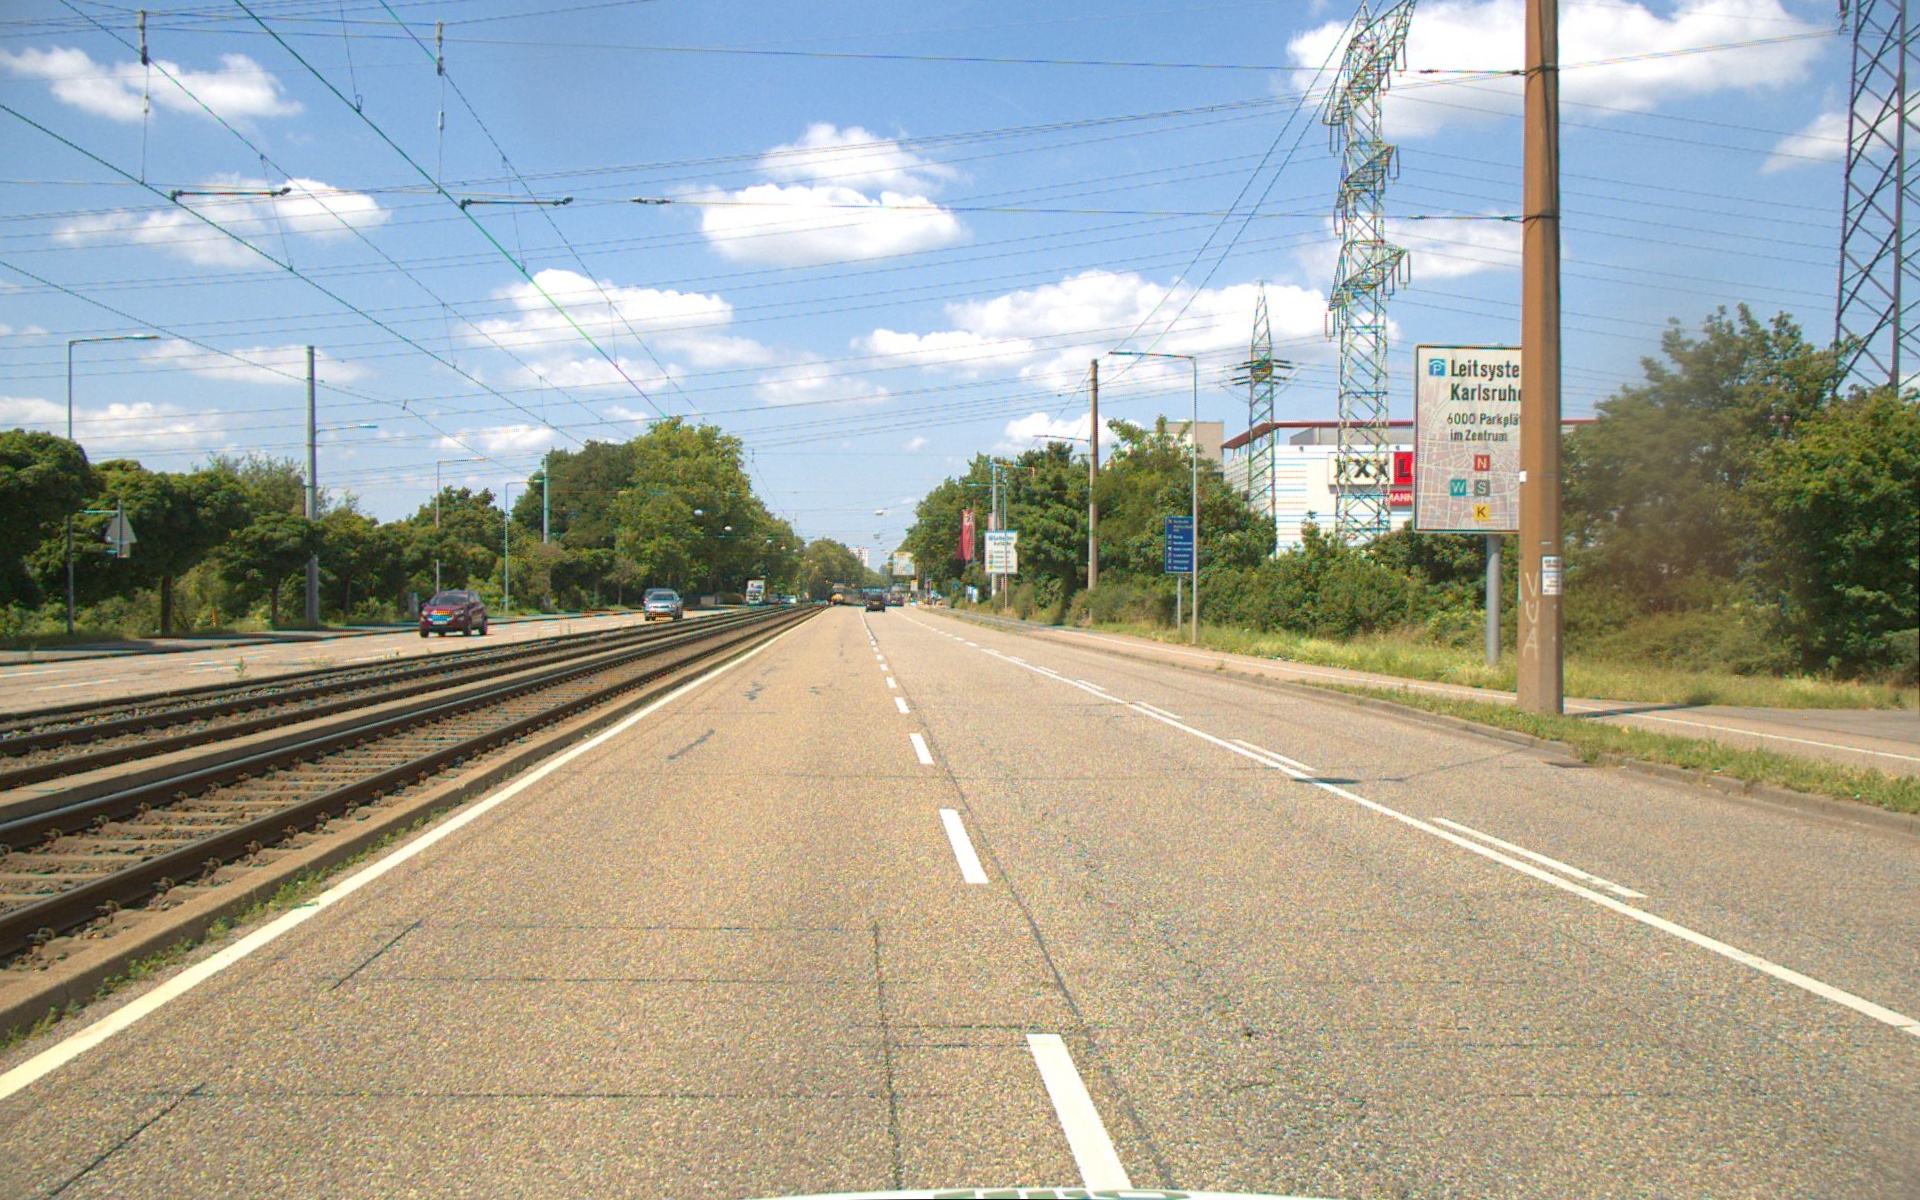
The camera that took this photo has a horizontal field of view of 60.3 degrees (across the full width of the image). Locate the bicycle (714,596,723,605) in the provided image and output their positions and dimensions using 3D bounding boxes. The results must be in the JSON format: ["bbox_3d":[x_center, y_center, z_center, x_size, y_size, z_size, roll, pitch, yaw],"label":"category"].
[{"bbox_3d":[-28.319,0.024,193.691,0.610,0.996,2.055,3,0,2],"label":"bicycle"}]

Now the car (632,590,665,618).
[{"bbox_3d":[-23.074,0.290,122.628,1.820,1.961,5.004,-2,0,-4],"label":"car"}]

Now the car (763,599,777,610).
[{"bbox_3d":[-26.958,0.641,234.663,1.718,1.562,3.953,-1,0,-5],"label":"car"}]

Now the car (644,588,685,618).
[{"bbox_3d":[-16.843,0.144,94.350,1.766,1.653,4.490,-2,1,-4],"label":"car"}]

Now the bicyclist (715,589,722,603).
[{"bbox_3d":[-28.306,-0.442,193.643,0.610,1.645,1.062,2,0,2],"label":"bicyclist"}]

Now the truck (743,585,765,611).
[{"bbox_3d":[-26.422,-0.267,212.181,2.204,3.293,6.039,0,0,-2],"label":"truck"}]

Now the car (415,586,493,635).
[{"bbox_3d":[-18.366,0.358,60.225,1.766,1.653,4.208,-2,1,-4],"label":"car"}]

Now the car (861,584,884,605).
[{"bbox_3d":[-7.725,-0.476,145.764,1.862,1.837,3.973,2,0,-4],"label":"car"}]
